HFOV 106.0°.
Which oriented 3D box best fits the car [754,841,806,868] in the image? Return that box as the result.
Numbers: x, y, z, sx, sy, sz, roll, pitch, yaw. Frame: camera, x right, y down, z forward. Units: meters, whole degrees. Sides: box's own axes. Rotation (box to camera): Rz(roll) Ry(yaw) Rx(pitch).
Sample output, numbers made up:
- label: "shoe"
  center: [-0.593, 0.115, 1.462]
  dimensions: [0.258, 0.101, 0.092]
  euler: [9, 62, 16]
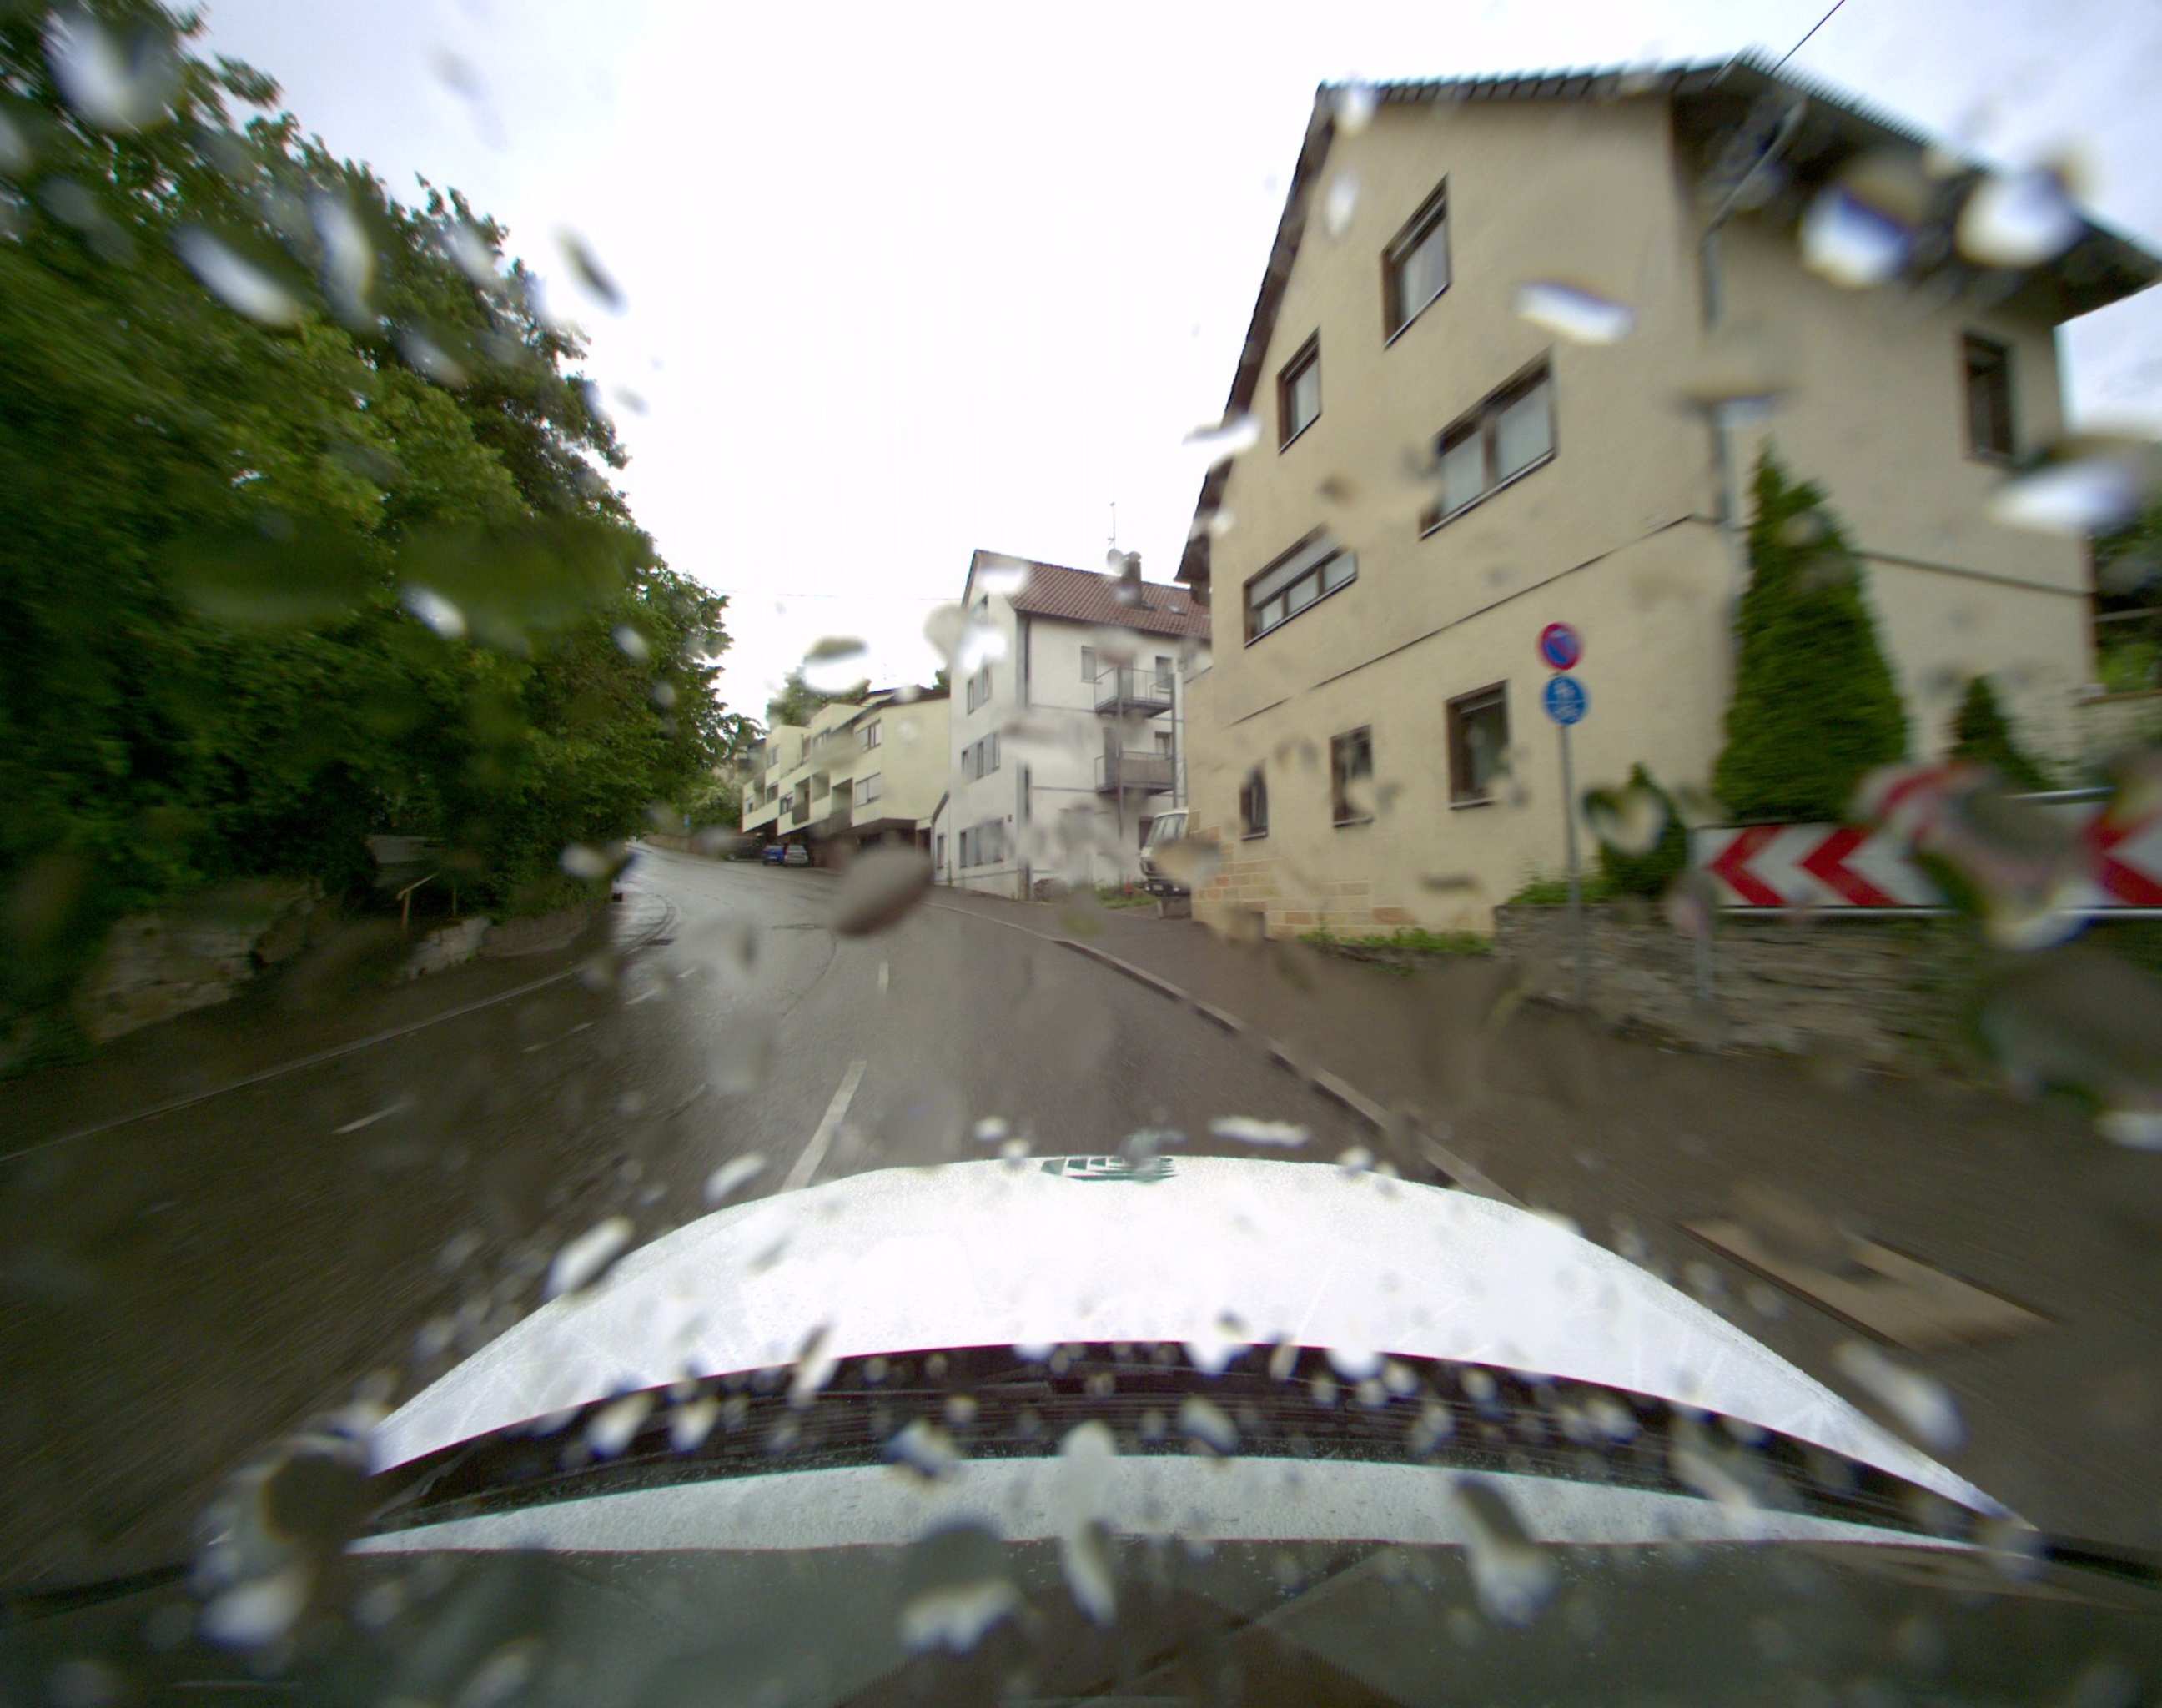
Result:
- label: "car"
  center: [-20.333, 0.059, 55.169]
  dimensions: [1.775, 1.578, 4.068]
  euler: [5, -1, 2]

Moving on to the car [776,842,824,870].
- label: "car"
  center: [-18.123, 0.130, 52.670]
  dimensions: [1.778, 1.578, 4.061]
  euler: [5, -1, -3]

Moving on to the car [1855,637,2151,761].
- label: "car"
  center: [23.177, -3.821, 20.585]
  dimensions: [5.682, 2.651, 1.995]
  euler: [-1, -2, -7]

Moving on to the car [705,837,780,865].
- label: "car"
  center: [-25.207, -0.208, 60.663]
  dimensions: [4.744, 1.820, 1.978]
  euler: [2, 1, -37]

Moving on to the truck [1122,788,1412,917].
- label: "truck"
  center: [4.639, -0.157, 20.038]
  dimensions: [6.984, 2.702, 2.125]
  euler: [-3, 2, -22]
